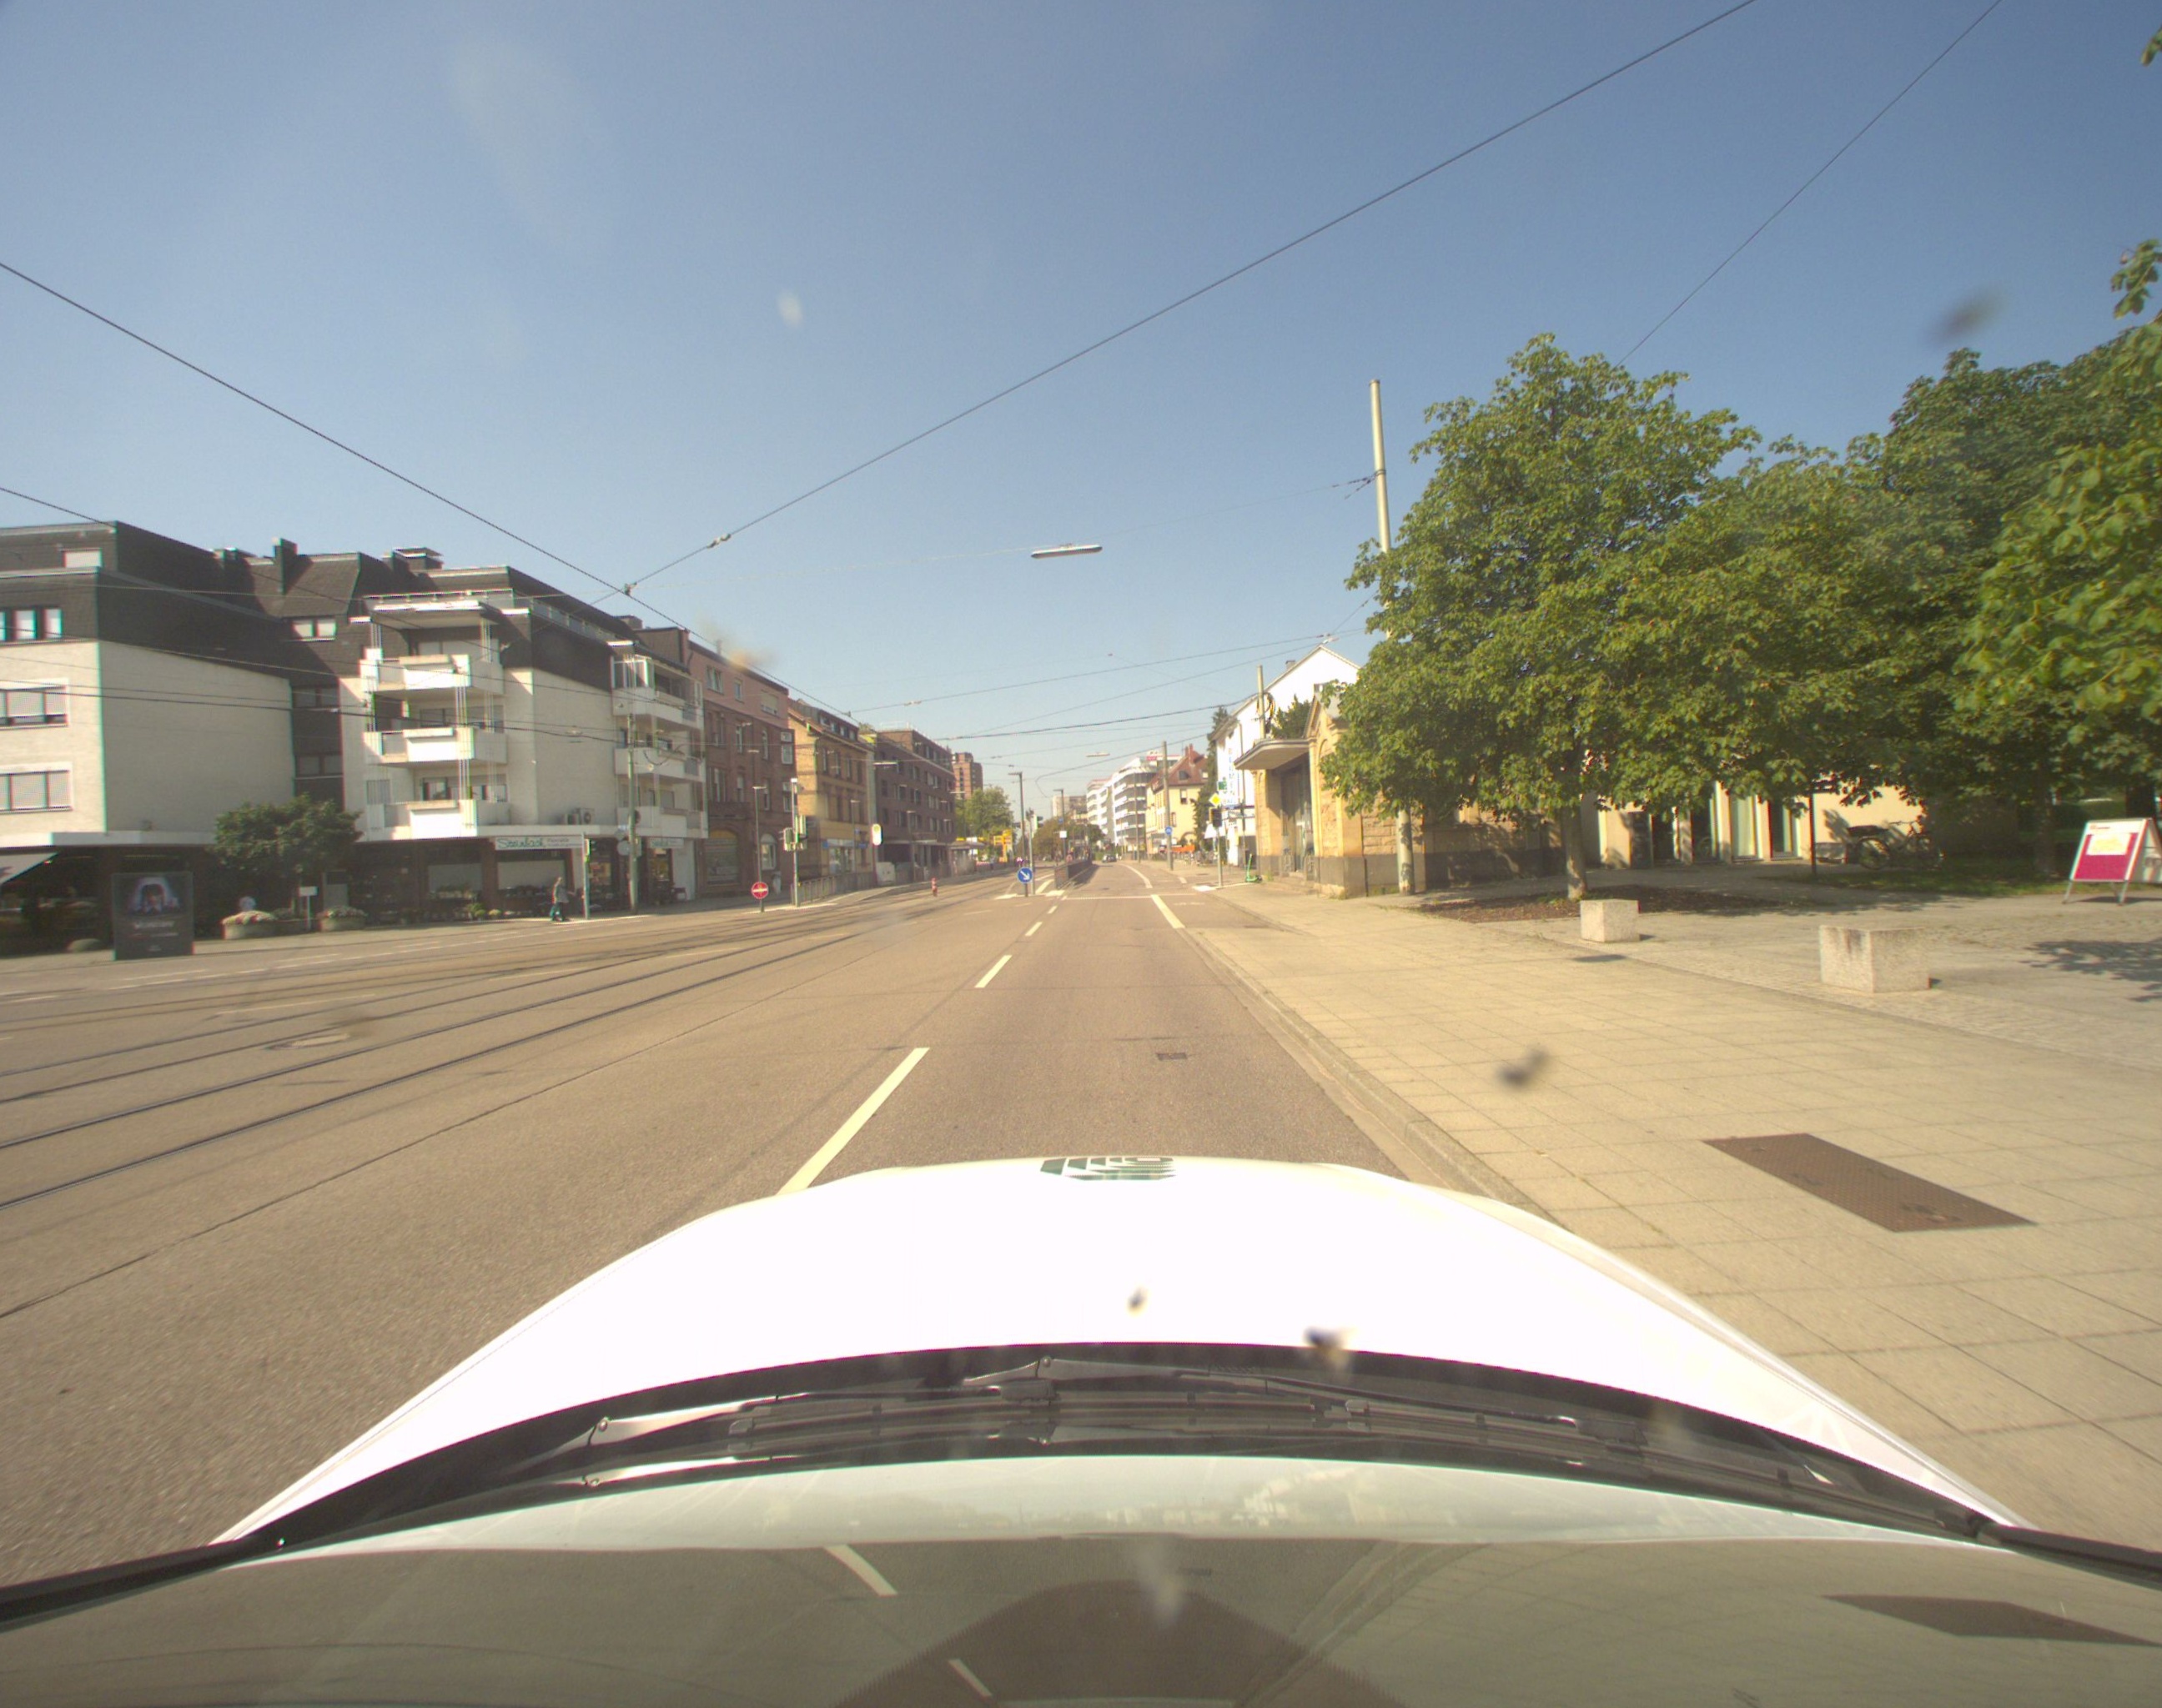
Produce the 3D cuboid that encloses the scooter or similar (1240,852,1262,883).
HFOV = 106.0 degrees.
[{"bbox_3d":[6.620,0.504,31.722,0.521,1.133,1.512,-5,-1,3],"label":"scooter or similar"}]

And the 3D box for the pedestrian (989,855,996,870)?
[{"bbox_3d":[-8.984,0.843,82.463,0.531,1.530,0.700,-5,-1,-4],"label":"pedestrian"}]

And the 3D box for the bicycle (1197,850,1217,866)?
[{"bbox_3d":[9.671,0.307,62.565,0.730,1.132,2.834,-7,0,-5],"label":"bicycle"}]

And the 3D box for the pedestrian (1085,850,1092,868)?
[{"bbox_3d":[0.726,0.504,77.627,0.535,1.703,0.582,-5,-1,-1],"label":"pedestrian"}]

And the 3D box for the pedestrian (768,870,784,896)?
[{"bbox_3d":[-18.650,1.750,49.756,0.479,1.560,0.890,-2,-1,13],"label":"pedestrian"}]

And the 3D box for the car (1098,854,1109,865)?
[{"bbox_3d":[4.389,1.044,159.290,2.003,1.859,4.003,-5,0,3],"label":"car"}]

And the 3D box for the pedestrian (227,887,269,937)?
[{"bbox_3d":[-30.318,2.106,29.646,0.677,1.741,0.698,-5,-1,3],"label":"pedestrian"}]

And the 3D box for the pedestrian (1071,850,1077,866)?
[{"bbox_3d":[-0.793,0.426,88.492,0.535,1.703,0.582,-5,-1,-1],"label":"pedestrian"}]

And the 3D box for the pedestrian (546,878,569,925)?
[{"bbox_3d":[-20.287,1.842,31.562,0.602,1.745,0.560,-4,-1,-32],"label":"pedestrian"}]

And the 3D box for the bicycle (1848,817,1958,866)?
[{"bbox_3d":[17.902,-0.265,17.759,1.897,0.980,0.427,-3,0,1],"label":"bicycle"}]

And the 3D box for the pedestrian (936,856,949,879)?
[{"bbox_3d":[-10.562,1.018,62.150,0.705,1.723,0.799,-5,-1,2],"label":"pedestrian"}]

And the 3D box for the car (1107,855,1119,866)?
[{"bbox_3d":[6.034,1.146,153.026,2.003,1.859,4.003,-5,0,3],"label":"car"}]

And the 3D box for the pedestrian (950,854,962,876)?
[{"bbox_3d":[-10.529,0.916,68.821,0.705,1.747,0.799,-5,-1,2],"label":"pedestrian"}]

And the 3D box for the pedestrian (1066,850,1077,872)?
[{"bbox_3d":[-0.798,0.551,66.344,0.717,1.703,0.885,-5,-1,3],"label":"pedestrian"}]
